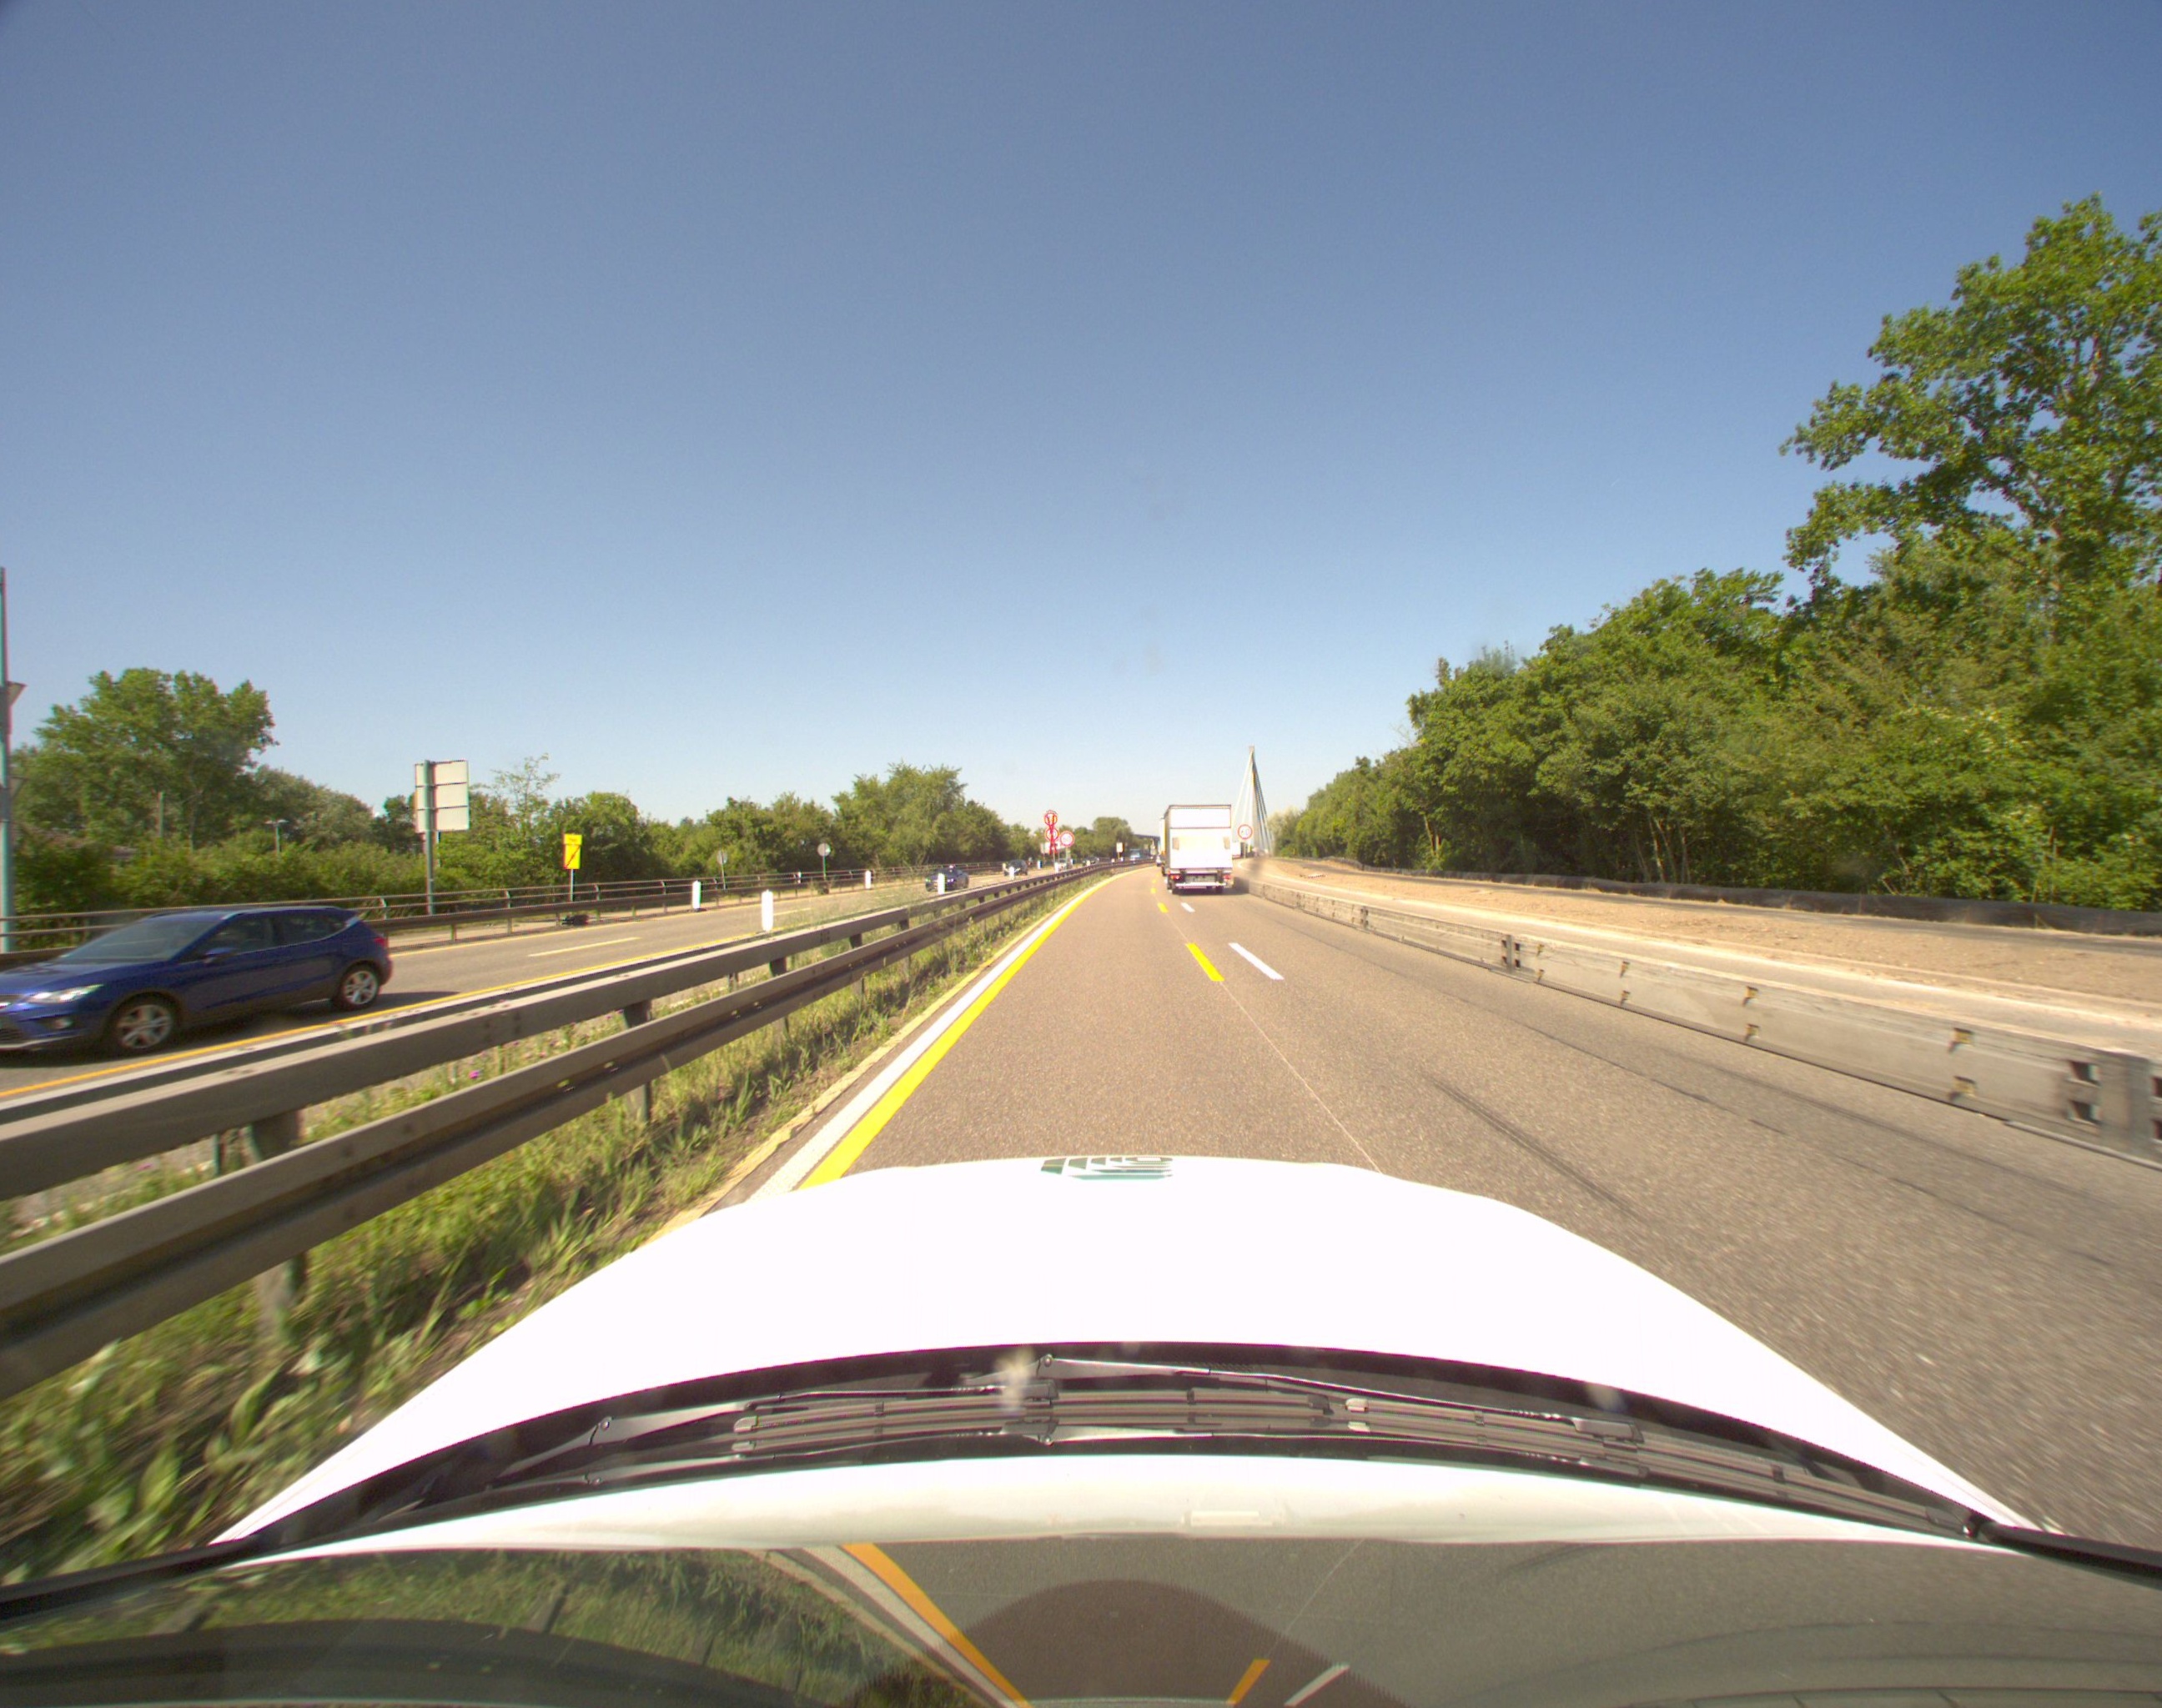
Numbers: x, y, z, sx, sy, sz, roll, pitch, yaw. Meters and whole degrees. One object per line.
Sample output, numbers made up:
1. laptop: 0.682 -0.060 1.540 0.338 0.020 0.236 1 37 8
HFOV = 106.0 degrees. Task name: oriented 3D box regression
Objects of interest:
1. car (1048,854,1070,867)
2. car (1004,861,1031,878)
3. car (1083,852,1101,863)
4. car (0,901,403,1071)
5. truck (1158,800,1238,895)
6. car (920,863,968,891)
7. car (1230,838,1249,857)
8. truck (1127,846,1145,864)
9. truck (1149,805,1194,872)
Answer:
1. car: -2.770 0.800 104.143 1.981 1.552 4.011 -2 0 10
2. car: -6.462 1.543 83.398 1.983 1.552 4.008 -2 0 7
3. car: 1.701 0.509 128.362 1.980 1.552 4.014 -2 0 13
4. car: -11.271 1.492 10.385 1.731 1.498 4.002 -2 0 2
5. truck: 4.614 -0.241 33.362 2.623 3.427 7.239 0 0 3
6. car: -8.455 1.412 50.568 1.984 1.552 4.005 -2 0 4
7. car: 38.030 -1.537 195.883 4.181 4.251 10.692 -4 0 10
8. truck: 11.706 0.228 173.559 2.489 3.613 6.219 -4 0 15
9. truck: 6.356 -1.037 57.986 2.624 4.468 7.236 0 0 2
